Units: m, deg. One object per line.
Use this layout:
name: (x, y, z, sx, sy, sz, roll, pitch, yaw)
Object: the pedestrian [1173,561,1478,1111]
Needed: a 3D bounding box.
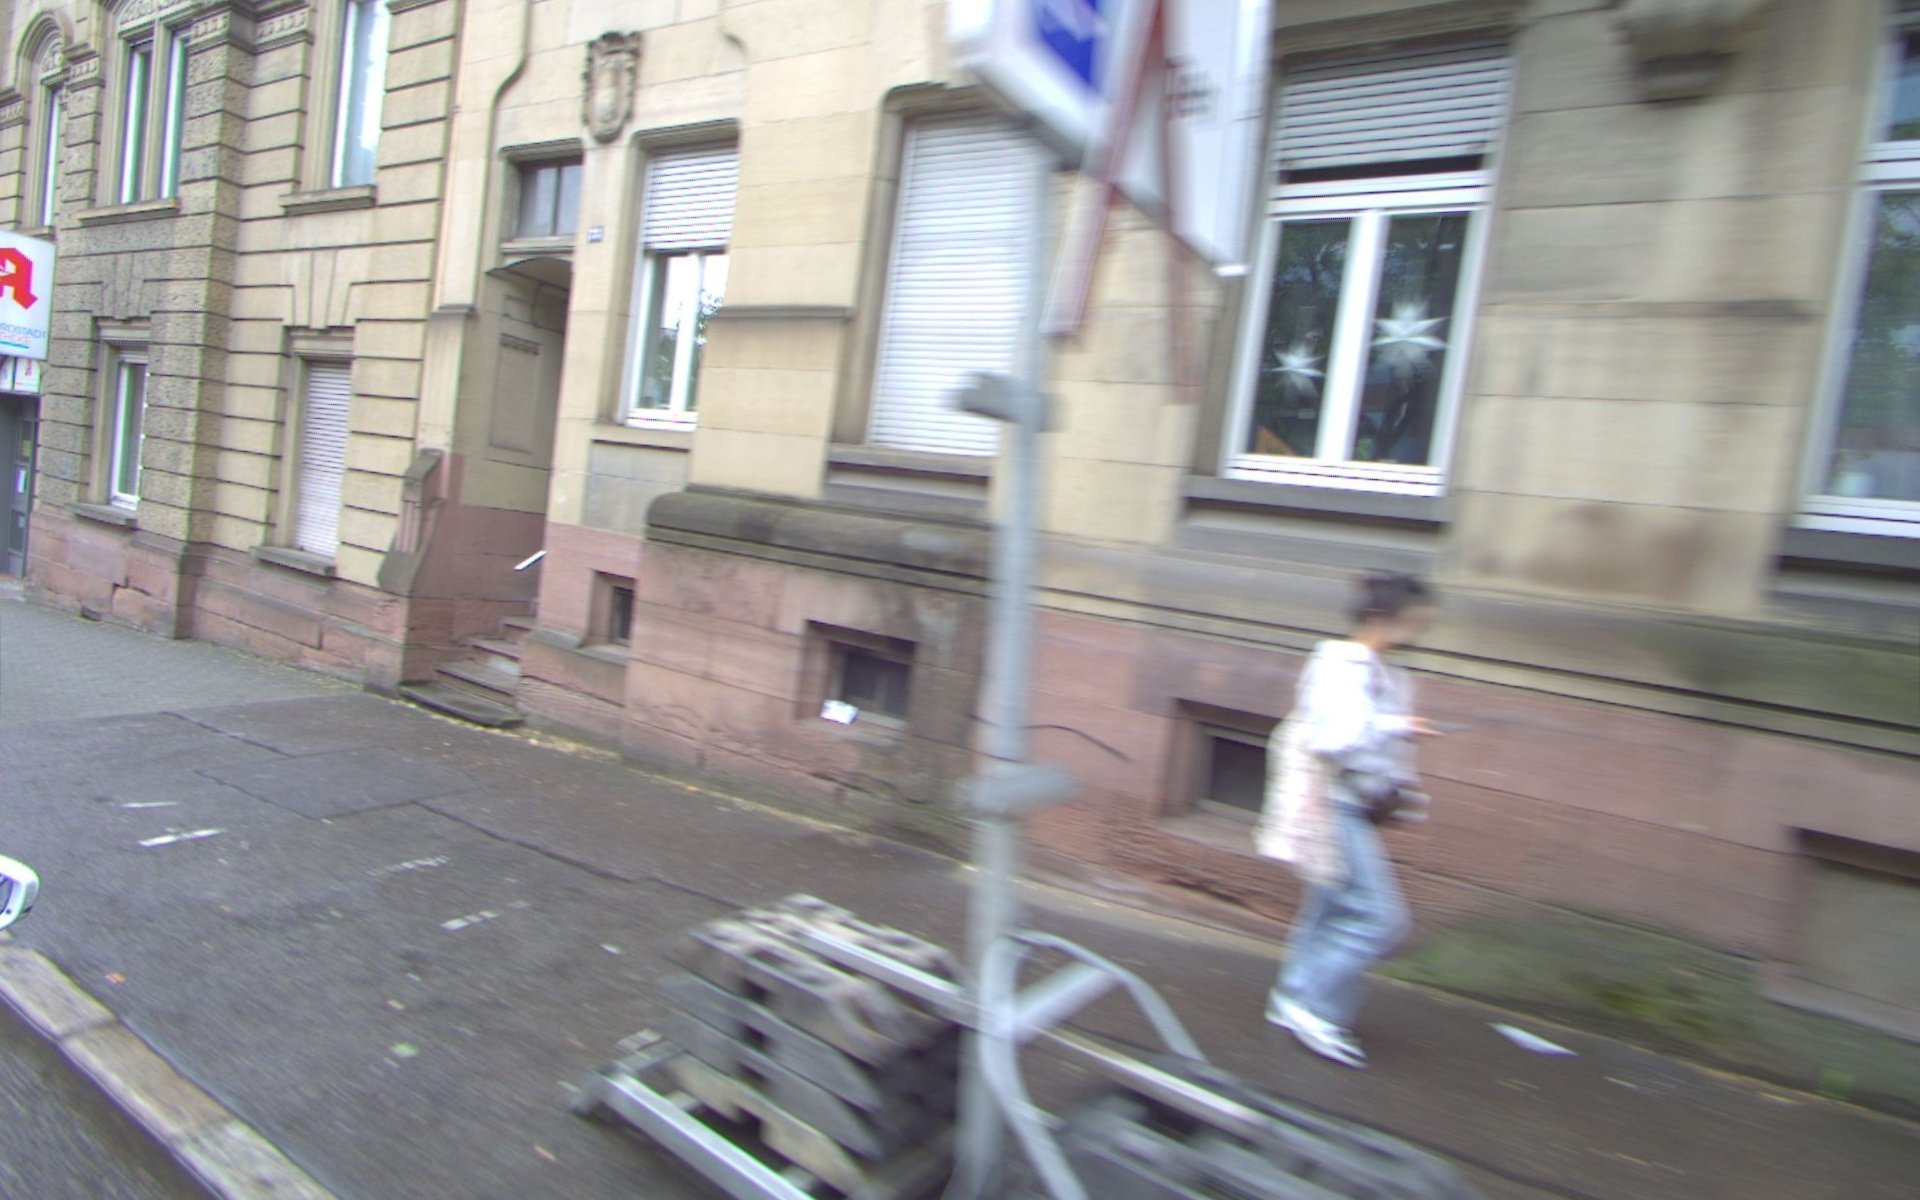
pedestrian: (1.193, 0.670, 3.275, 0.682, 1.530, 0.630, 7, 5, 32)
